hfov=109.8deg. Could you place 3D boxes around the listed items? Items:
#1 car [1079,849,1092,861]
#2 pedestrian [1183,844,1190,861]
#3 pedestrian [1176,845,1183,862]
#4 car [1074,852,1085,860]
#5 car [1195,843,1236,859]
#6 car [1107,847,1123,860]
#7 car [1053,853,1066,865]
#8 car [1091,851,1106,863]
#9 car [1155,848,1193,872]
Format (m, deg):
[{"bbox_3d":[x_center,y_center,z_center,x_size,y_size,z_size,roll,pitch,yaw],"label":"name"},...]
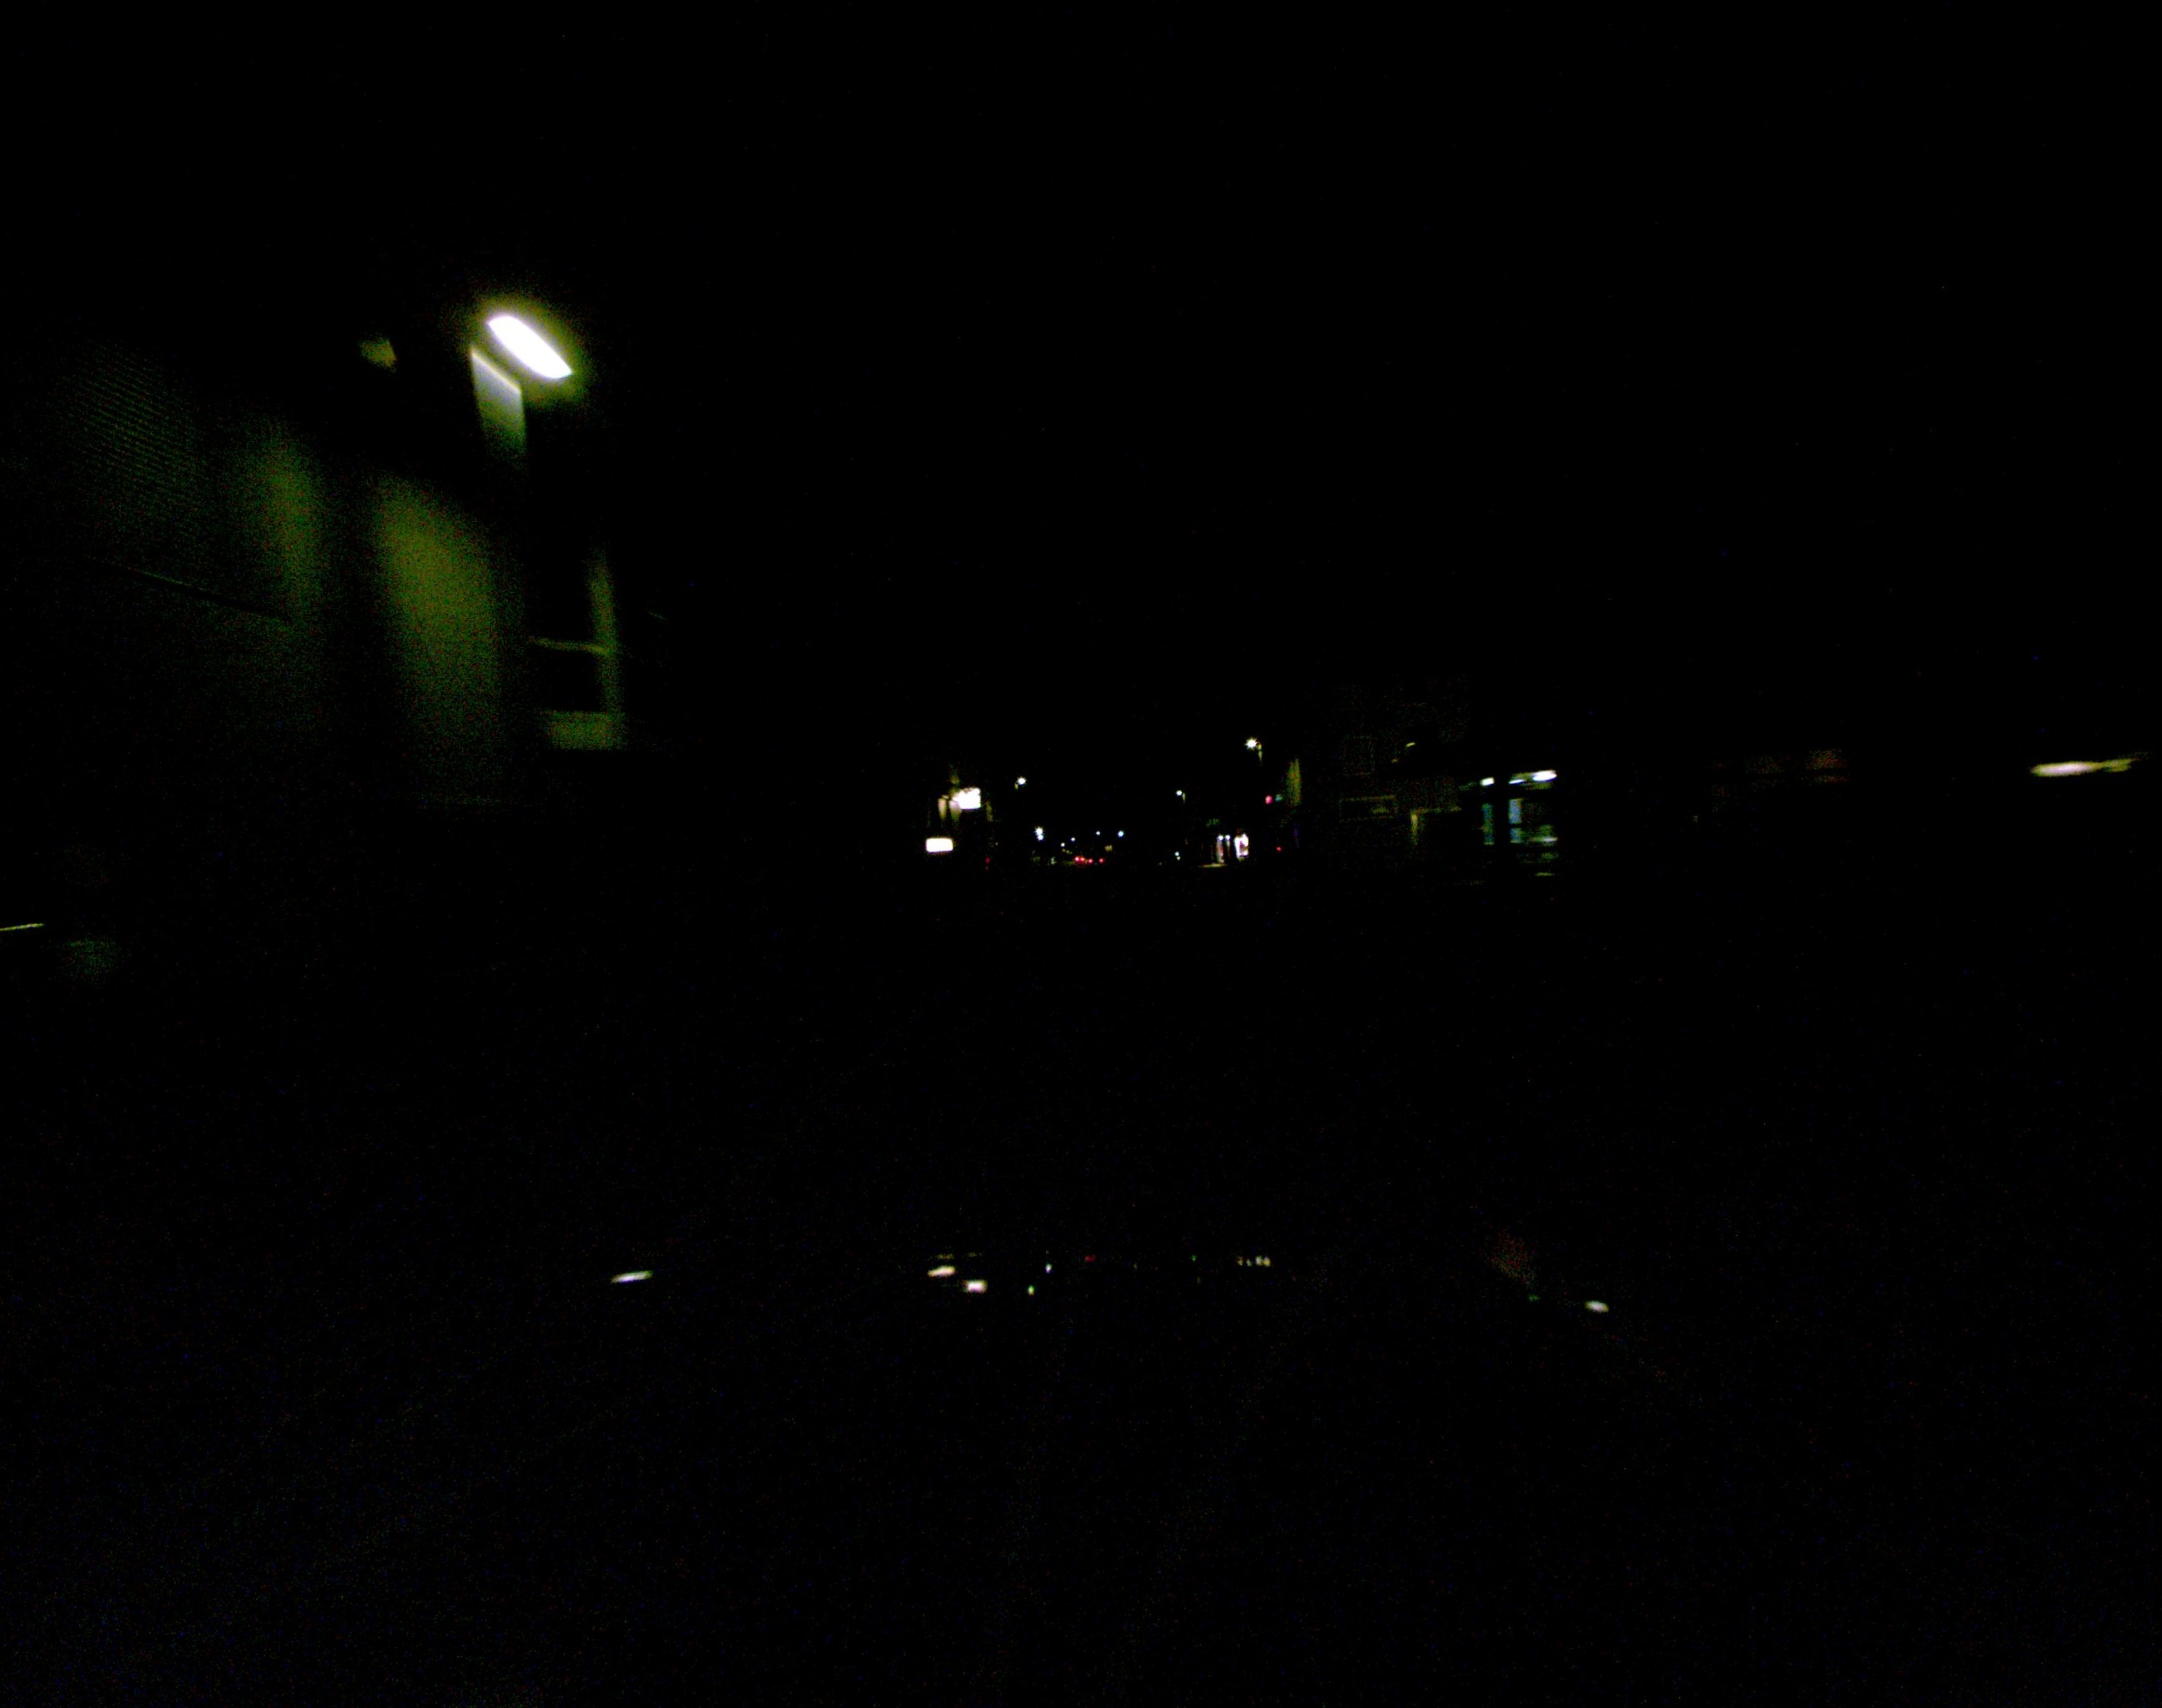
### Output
[{"bbox_3d":[0.684,0.176,116.311,1.752,1.635,4.306,-3,0,-3],"label":"car"},{"bbox_3d":[10.340,-0.145,74.524,0.529,1.579,0.665,-4,1,-2],"label":"pedestrian"},{"bbox_3d":[9.657,-0.067,74.778,0.529,1.579,0.666,-3,1,2],"label":"pedestrian"},{"bbox_3d":[-0.282,0.275,130.828,1.822,1.271,3.916,-3,0,-1],"label":"car"},{"bbox_3d":[13.702,-0.283,77.687,3.833,1.408,1.652,-3,1,1],"label":"car"},{"bbox_3d":[4.739,-0.058,106.976,1.814,1.637,3.803,-5,0,-1],"label":"car"},{"bbox_3d":[-2.847,0.631,101.220,1.606,1.474,3.698,-3,0,-3],"label":"car"},{"bbox_3d":[2.214,0.408,96.844,1.721,1.420,3.815,-3,0,0],"label":"car"},{"bbox_3d":[6.443,0.396,52.995,1.901,1.411,4.930,-5,0,0],"label":"car"}]
